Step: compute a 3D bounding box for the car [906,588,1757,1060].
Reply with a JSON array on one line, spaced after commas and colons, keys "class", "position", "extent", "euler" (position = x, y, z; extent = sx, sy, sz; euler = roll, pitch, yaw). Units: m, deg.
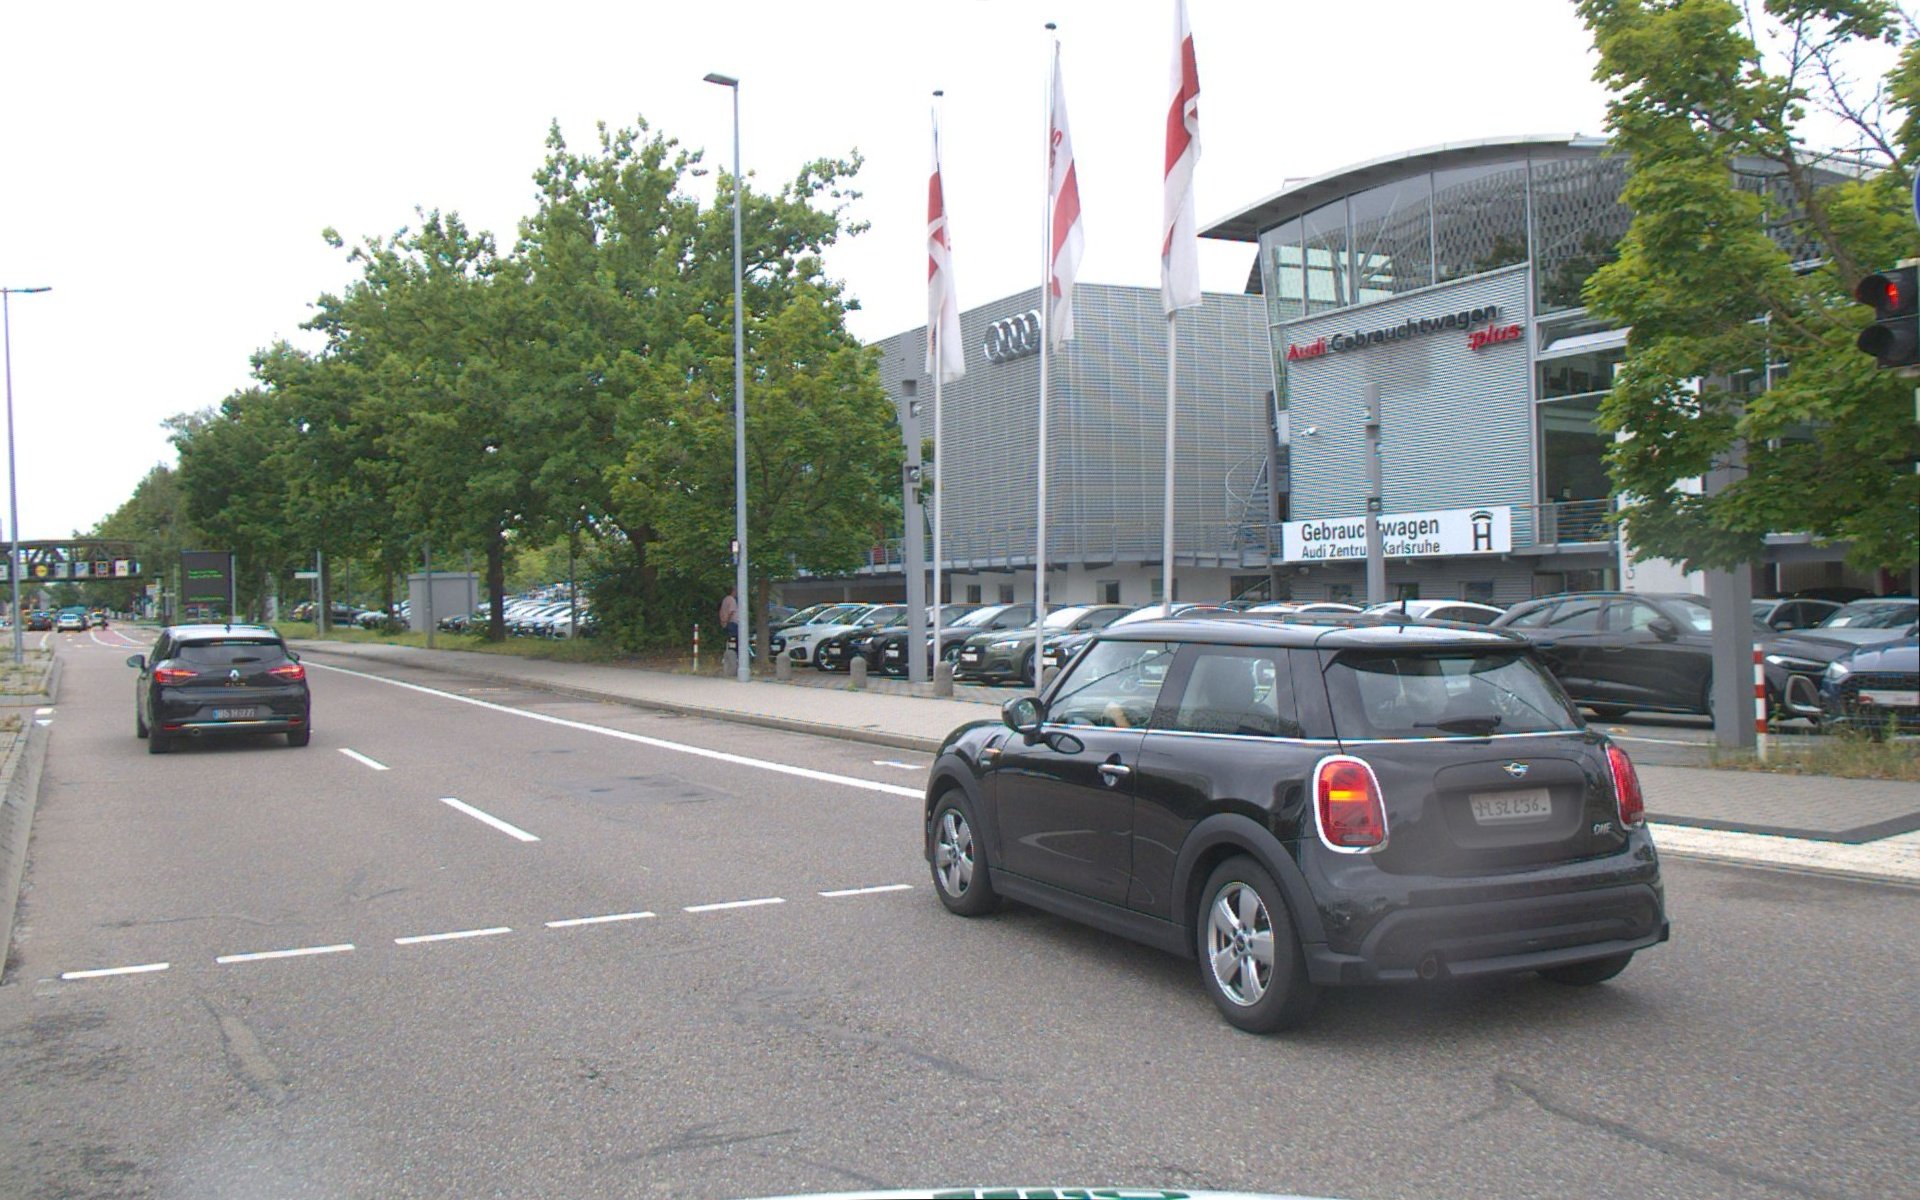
[{"class": "car", "position": [1.262, 0.695, 7.091], "extent": [1.763, 1.440, 3.615], "euler": [0, 0, -24]}]

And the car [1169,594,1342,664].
[{"class": "car", "position": [7.377, 0.679, 41.171], "extent": [4.057, 1.571, 1.799], "euler": [-1, 2, -29]}]

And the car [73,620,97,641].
[{"class": "car", "position": [-87.124, 3.023, 164.655], "extent": [1.926, 1.847, 3.967], "euler": [-1, 2, -26]}]

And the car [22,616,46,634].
[{"class": "car", "position": [-94.787, 2.543, 169.388], "extent": [1.861, 1.690, 3.751], "euler": [-1, 2, -26]}]

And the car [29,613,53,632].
[{"class": "car", "position": [-97.314, 2.369, 175.188], "extent": [1.926, 1.847, 3.967], "euler": [-1, 2, -26]}]

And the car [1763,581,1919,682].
[{"class": "car", "position": [15.325, 0.511, 26.976], "extent": [4.200, 1.512, 1.911], "euler": [1, 0, -28]}]

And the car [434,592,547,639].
[{"class": "car", "position": [-20.959, 0.681, 73.840], "extent": [4.496, 1.732, 1.983], "euler": [5, -1, -28]}]

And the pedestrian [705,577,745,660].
[{"class": "pedestrian", "position": [-5.472, 0.430, 38.572], "extent": [0.702, 1.904, 0.674], "euler": [0, -1, 17]}]

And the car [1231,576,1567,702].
[{"class": "car", "position": [5.756, 0.511, 21.628], "extent": [4.136, 1.512, 1.836], "euler": [1, -1, -28]}]

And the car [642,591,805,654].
[{"class": "car", "position": [-6.623, 0.628, 46.422], "extent": [4.078, 1.418, 1.853], "euler": [5, -1, -29]}]

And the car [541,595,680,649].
[{"class": "car", "position": [-11.742, 0.742, 55.612], "extent": [4.150, 1.512, 1.940], "euler": [4, 0, -29]}]

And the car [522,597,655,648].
[{"class": "car", "position": [-12.987, 0.791, 57.819], "extent": [4.134, 1.512, 1.959], "euler": [4, 0, -28]}]

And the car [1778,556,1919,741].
[{"class": "car", "position": [9.642, 0.443, 14.823], "extent": [4.454, 1.512, 2.049], "euler": [1, -2, -30]}]

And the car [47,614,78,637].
[{"class": "car", "position": [-76.278, 2.159, 140.663], "extent": [2.109, 1.690, 3.751], "euler": [-1, 2, -26]}]

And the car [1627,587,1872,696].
[{"class": "car", "position": [13.941, 0.676, 29.168], "extent": [4.257, 1.725, 1.794], "euler": [-1, 2, -29]}]

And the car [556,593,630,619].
[{"class": "car", "position": [-21.964, 0.336, 99.108], "extent": [4.042, 1.460, 1.713], "euler": [-1, 2, -30]}]

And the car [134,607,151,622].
[{"class": "car", "position": [-109.205, 1.962, 220.883], "extent": [1.926, 1.847, 3.967], "euler": [-1, 2, -26]}]

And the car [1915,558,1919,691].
[{"class": "car", "position": [16.097, 0.314, 22.811], "extent": [1.970, 1.973, 4.775], "euler": [-2, 0, -27]}]

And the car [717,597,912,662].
[{"class": "car", "position": [-3.361, 0.667, 38.364], "extent": [4.158, 1.446, 1.838], "euler": [1, 0, -29]}]

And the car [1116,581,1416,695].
[{"class": "car", "position": [4.421, 0.546, 23.817], "extent": [3.985, 1.512, 1.859], "euler": [1, -1, -28]}]

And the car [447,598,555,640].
[{"class": "car", "position": [-19.830, 0.818, 71.519], "extent": [4.127, 1.471, 1.943], "euler": [5, -1, -28]}]

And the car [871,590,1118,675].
[{"class": "car", "position": [0.670, 0.625, 31.211], "extent": [4.317, 1.496, 1.876], "euler": [1, -1, -29]}]

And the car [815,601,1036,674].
[{"class": "car", "position": [-0.683, 0.765, 33.589], "extent": [4.108, 1.415, 1.884], "euler": [1, -1, -29]}]

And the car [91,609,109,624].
[{"class": "car", "position": [-112.498, 2.115, 216.419], "extent": [1.926, 1.847, 3.967], "euler": [-1, 2, -26]}]

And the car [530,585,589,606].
[{"class": "car", "position": [-30.138, -0.376, 124.405], "extent": [4.042, 1.460, 1.713], "euler": [-1, 2, -30]}]

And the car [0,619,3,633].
[{"class": "car", "position": [-110.510, 3.002, 188.884], "extent": [1.733, 1.472, 3.312], "euler": [-1, 2, -26]}]

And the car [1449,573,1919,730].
[{"class": "car", "position": [7.843, 0.537, 18.445], "extent": [1.865, 1.512, 4.712], "euler": [1, -1, -27]}]

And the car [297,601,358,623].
[{"class": "car", "position": [-44.454, 0.847, 116.242], "extent": [3.932, 1.460, 1.719], "euler": [-1, 2, -22]}]

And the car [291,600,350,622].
[{"class": "car", "position": [-45.699, 0.754, 118.220], "extent": [3.932, 1.460, 1.719], "euler": [-1, 2, -22]}]

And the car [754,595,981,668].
[{"class": "car", "position": [-1.985, 0.671, 35.919], "extent": [4.598, 1.498, 1.830], "euler": [1, 0, -29]}]

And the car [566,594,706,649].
[{"class": "car", "position": [-10.457, 0.700, 53.373], "extent": [4.019, 1.512, 1.801], "euler": [4, -1, -29]}]

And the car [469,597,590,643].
[{"class": "car", "position": [-17.477, 0.817, 67.176], "extent": [4.342, 1.547, 1.982], "euler": [5, -1, -28]}]

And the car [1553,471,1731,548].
[{"class": "car", "position": [15.821, -2.065, 38.329], "extent": [3.945, 1.691, 1.807], "euler": [-1, 2, -30]}]

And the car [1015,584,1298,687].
[{"class": "car", "position": [3.130, 0.569, 26.236], "extent": [4.170, 1.512, 1.854], "euler": [1, -1, -28]}]

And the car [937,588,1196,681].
[{"class": "car", "position": [1.854, 0.600, 28.606], "extent": [4.131, 1.512, 1.890], "euler": [1, -1, -29]}]

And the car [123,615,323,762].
[{"class": "car", "position": [-8.976, 0.973, 19.972], "extent": [1.739, 1.459, 3.959], "euler": [-2, 2, -31]}]
